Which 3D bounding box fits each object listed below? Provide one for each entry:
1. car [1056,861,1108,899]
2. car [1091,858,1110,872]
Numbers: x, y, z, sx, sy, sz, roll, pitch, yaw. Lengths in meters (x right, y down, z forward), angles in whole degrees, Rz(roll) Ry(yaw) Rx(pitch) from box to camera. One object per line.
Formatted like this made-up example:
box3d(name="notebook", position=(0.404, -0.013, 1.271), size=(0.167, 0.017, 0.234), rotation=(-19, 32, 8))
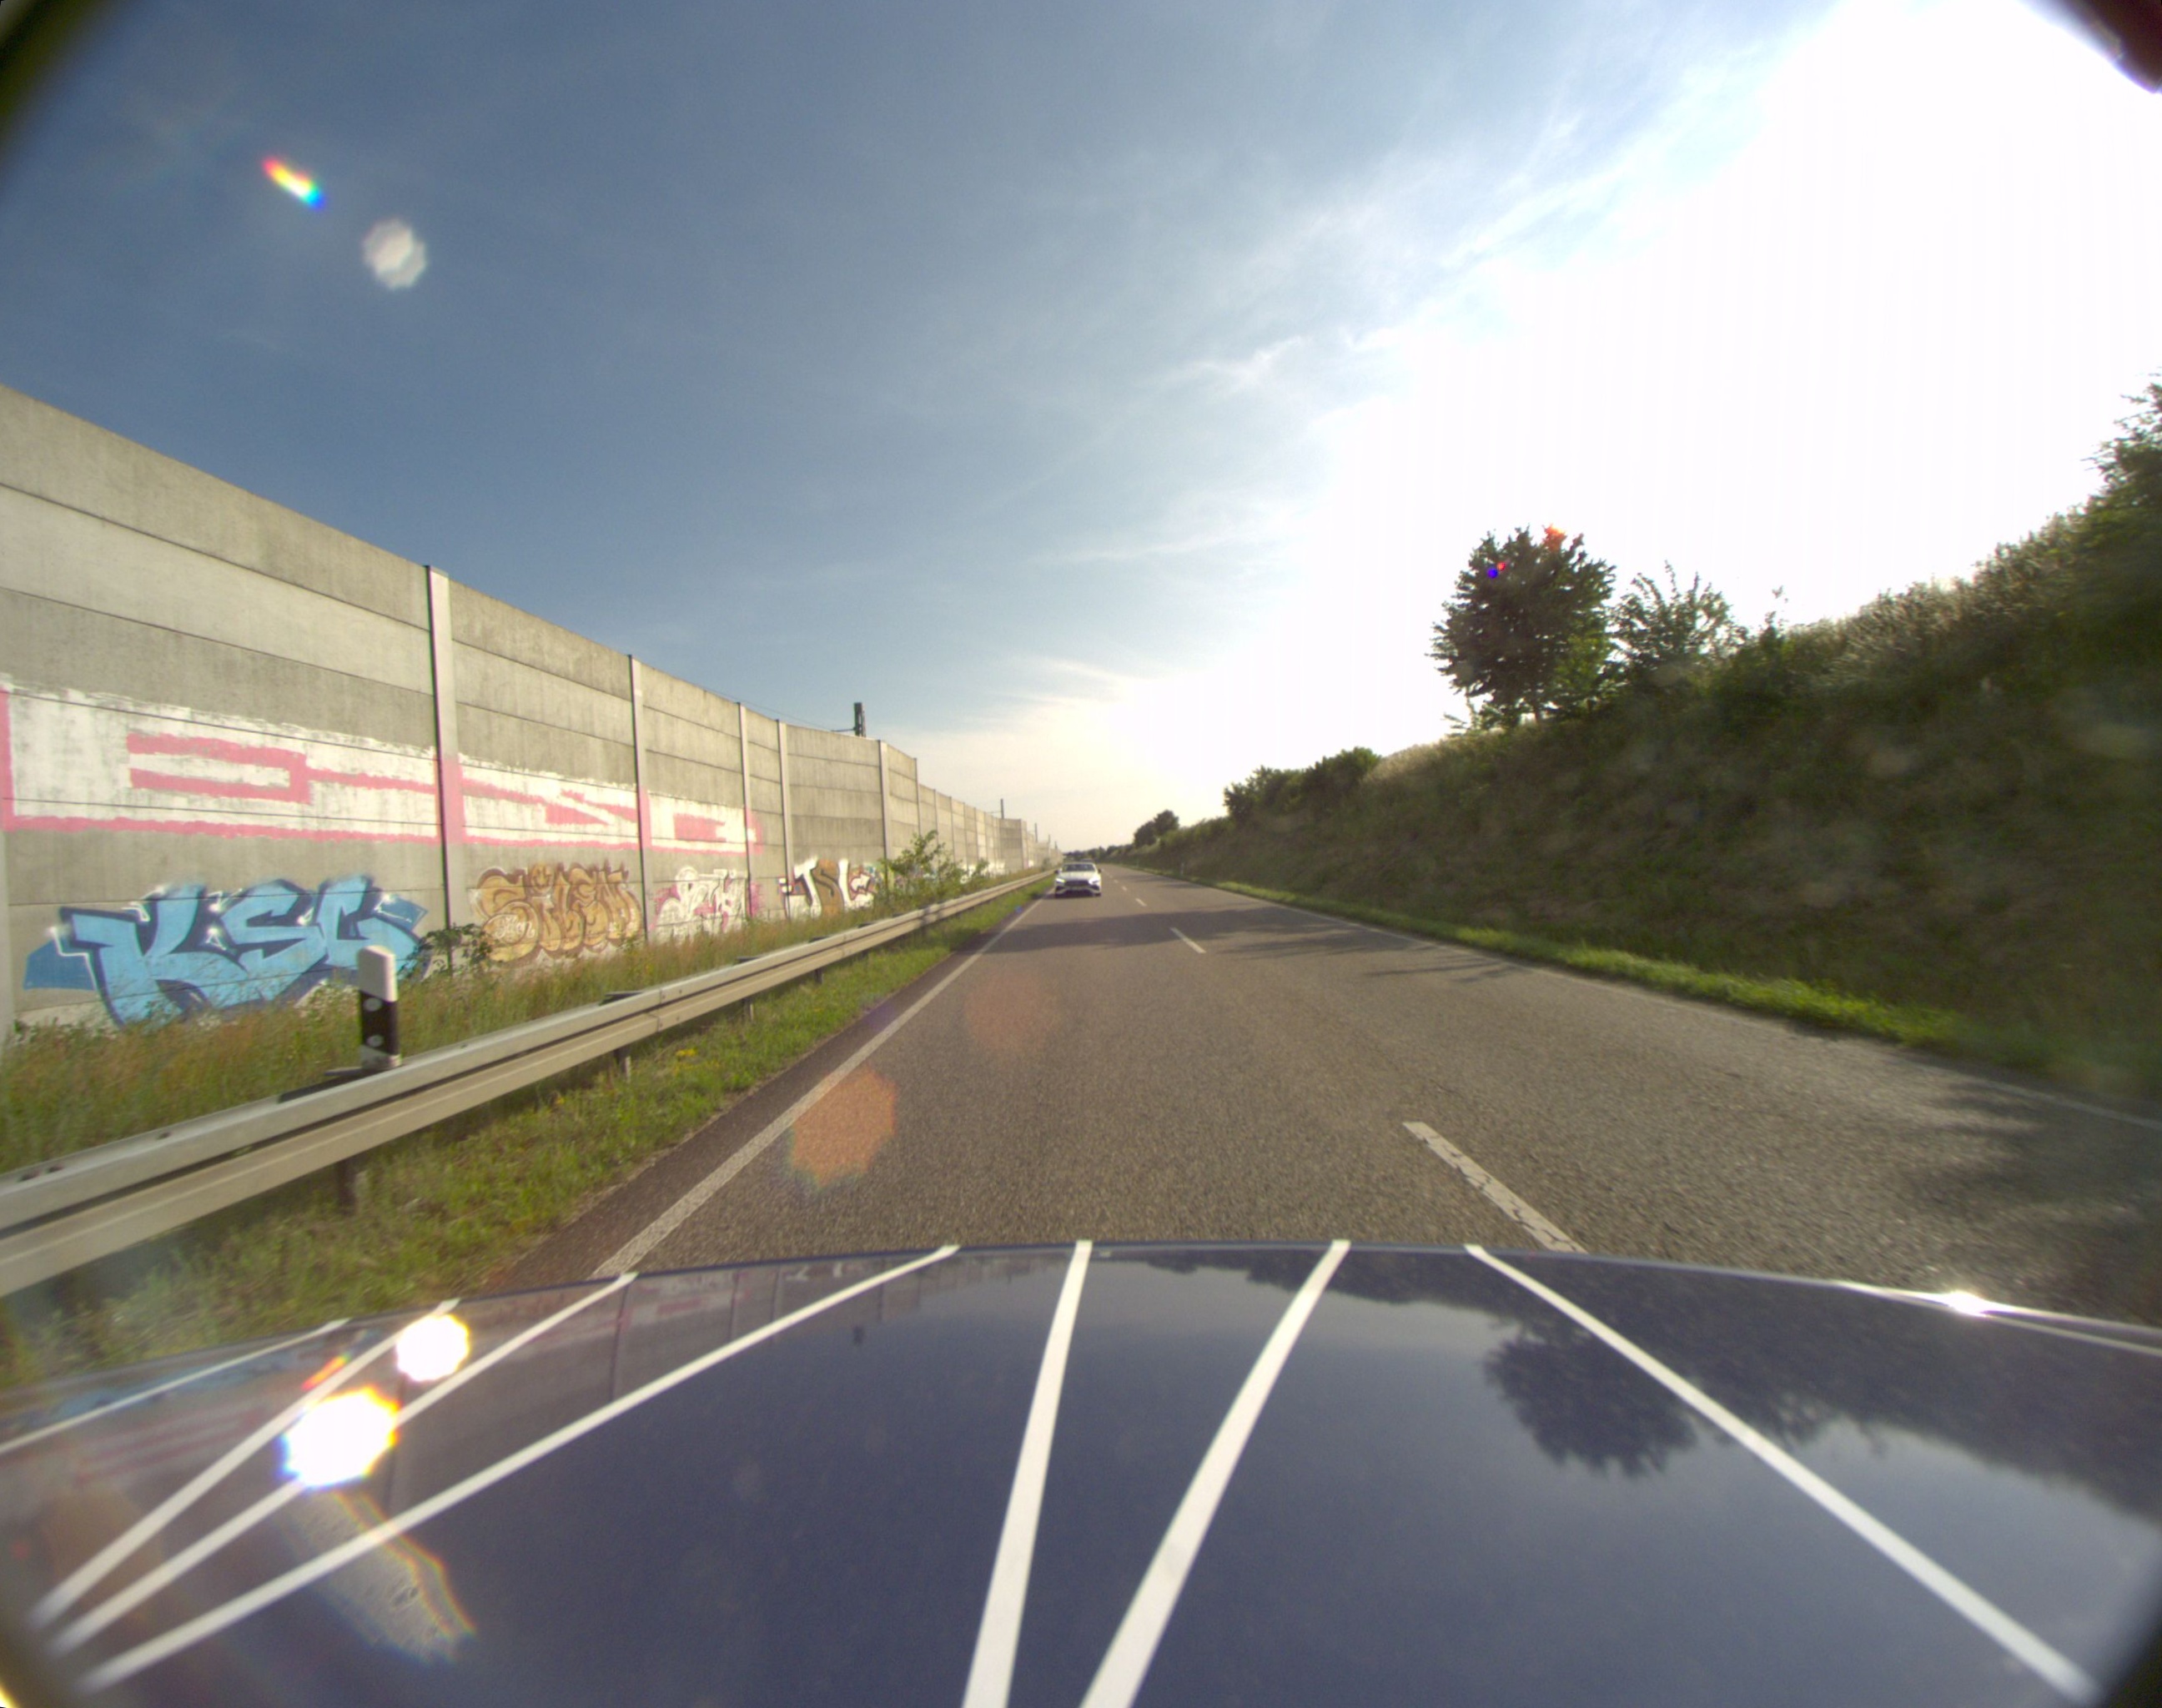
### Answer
box3d(name="car", position=(-0.053, 1.036, 32.306), size=(1.930, 1.398, 4.973), rotation=(-1, 0, -3))
box3d(name="car", position=(2.000, 1.111, 79.046), size=(1.930, 1.399, 4.974), rotation=(-1, 0, 1))
